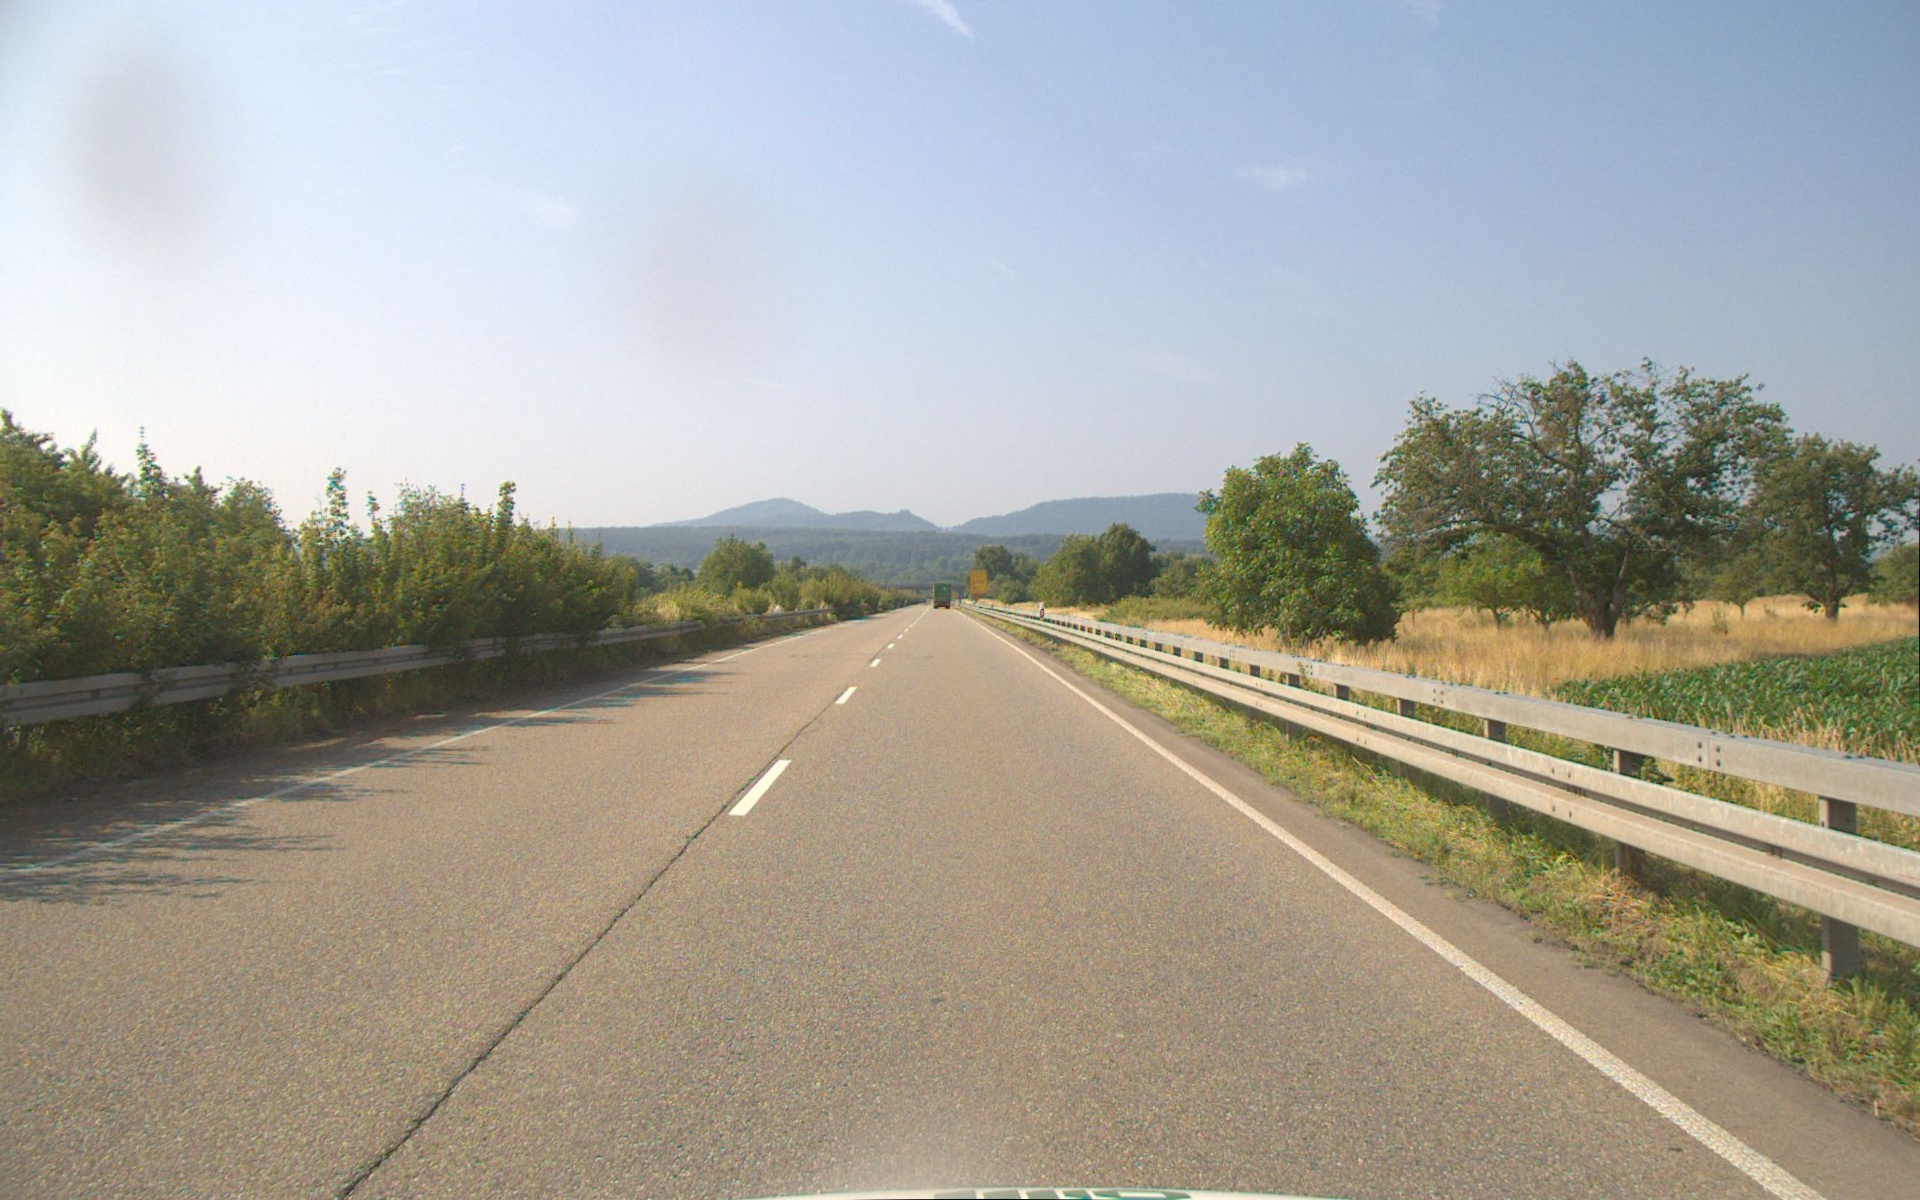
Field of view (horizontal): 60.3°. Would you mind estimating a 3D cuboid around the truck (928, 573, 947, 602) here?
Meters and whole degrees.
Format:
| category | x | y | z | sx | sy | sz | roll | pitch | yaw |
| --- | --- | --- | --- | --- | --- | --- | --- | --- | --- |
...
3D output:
| category | x | y | z | sx | sy | sz | roll | pitch | yaw |
| --- | --- | --- | --- | --- | --- | --- | --- | --- | --- |
| truck | -3.252 | -1.897 | 245.110 | 2.666 | 4.034 | 10.415 | 1 | 1 | 0 |
